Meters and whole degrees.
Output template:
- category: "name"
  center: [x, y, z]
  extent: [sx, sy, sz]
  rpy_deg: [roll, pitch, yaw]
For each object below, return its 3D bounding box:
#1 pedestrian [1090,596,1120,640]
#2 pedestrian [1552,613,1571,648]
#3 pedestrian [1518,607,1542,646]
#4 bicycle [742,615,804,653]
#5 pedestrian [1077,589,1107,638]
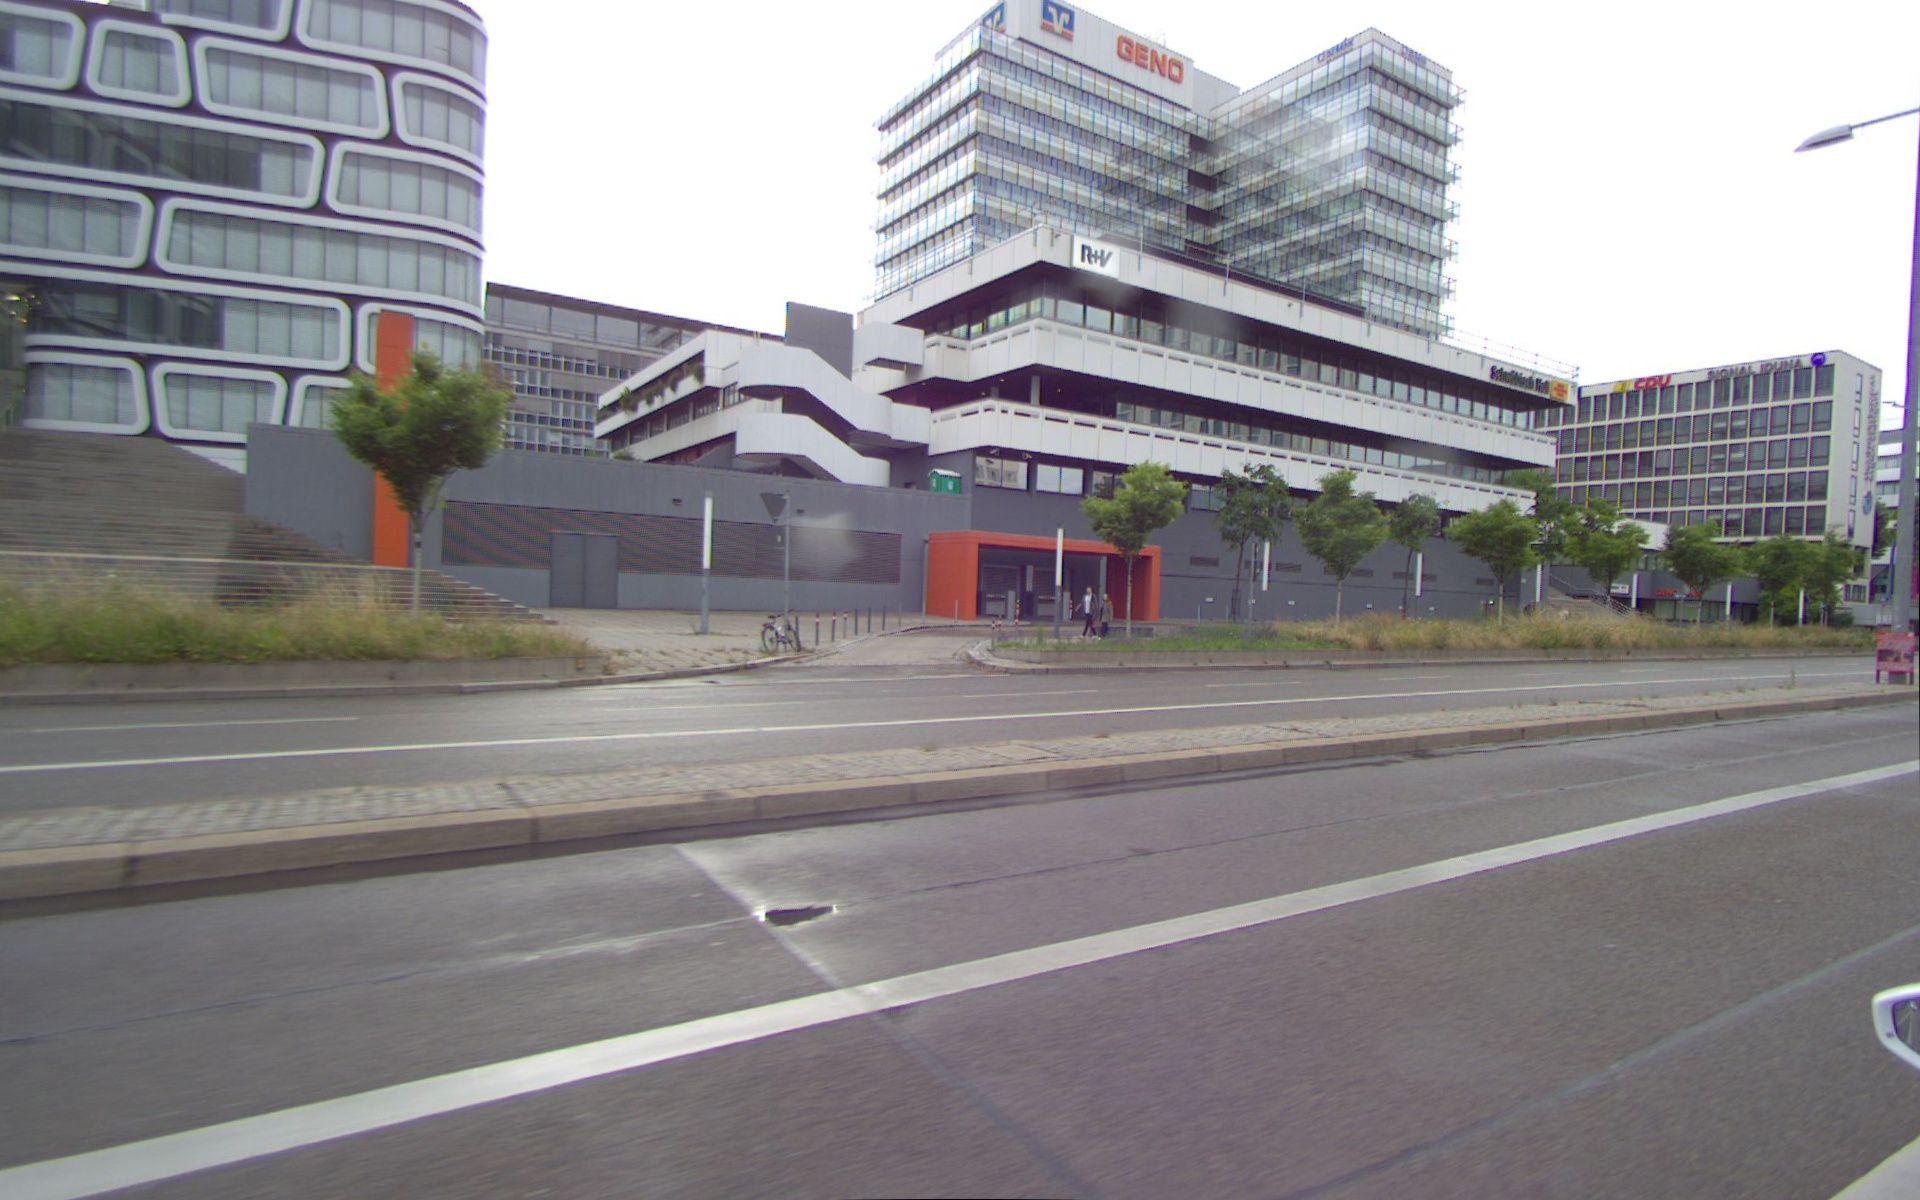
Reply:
- category: "pedestrian"
  center: [4.973, 0.609, 34.488]
  extent: [0.789, 1.465, 0.614]
  rpy_deg: [2, 0, -31]
- category: "pedestrian"
  center: [31.750, 1.594, 53.040]
  extent: [0.622, 1.831, 0.626]
  rpy_deg: [2, 0, -32]
- category: "pedestrian"
  center: [27.586, 1.274, 48.643]
  extent: [0.622, 1.831, 0.780]
  rpy_deg: [2, 0, -32]
- category: "bicycle"
  center: [-4.487, 0.815, 24.198]
  extent: [0.598, 0.869, 1.656]
  rpy_deg: [2, -1, 24]
- category: "pedestrian"
  center: [4.613, 0.477, 35.144]
  extent: [0.789, 1.680, 0.614]
  rpy_deg: [2, 0, -31]
